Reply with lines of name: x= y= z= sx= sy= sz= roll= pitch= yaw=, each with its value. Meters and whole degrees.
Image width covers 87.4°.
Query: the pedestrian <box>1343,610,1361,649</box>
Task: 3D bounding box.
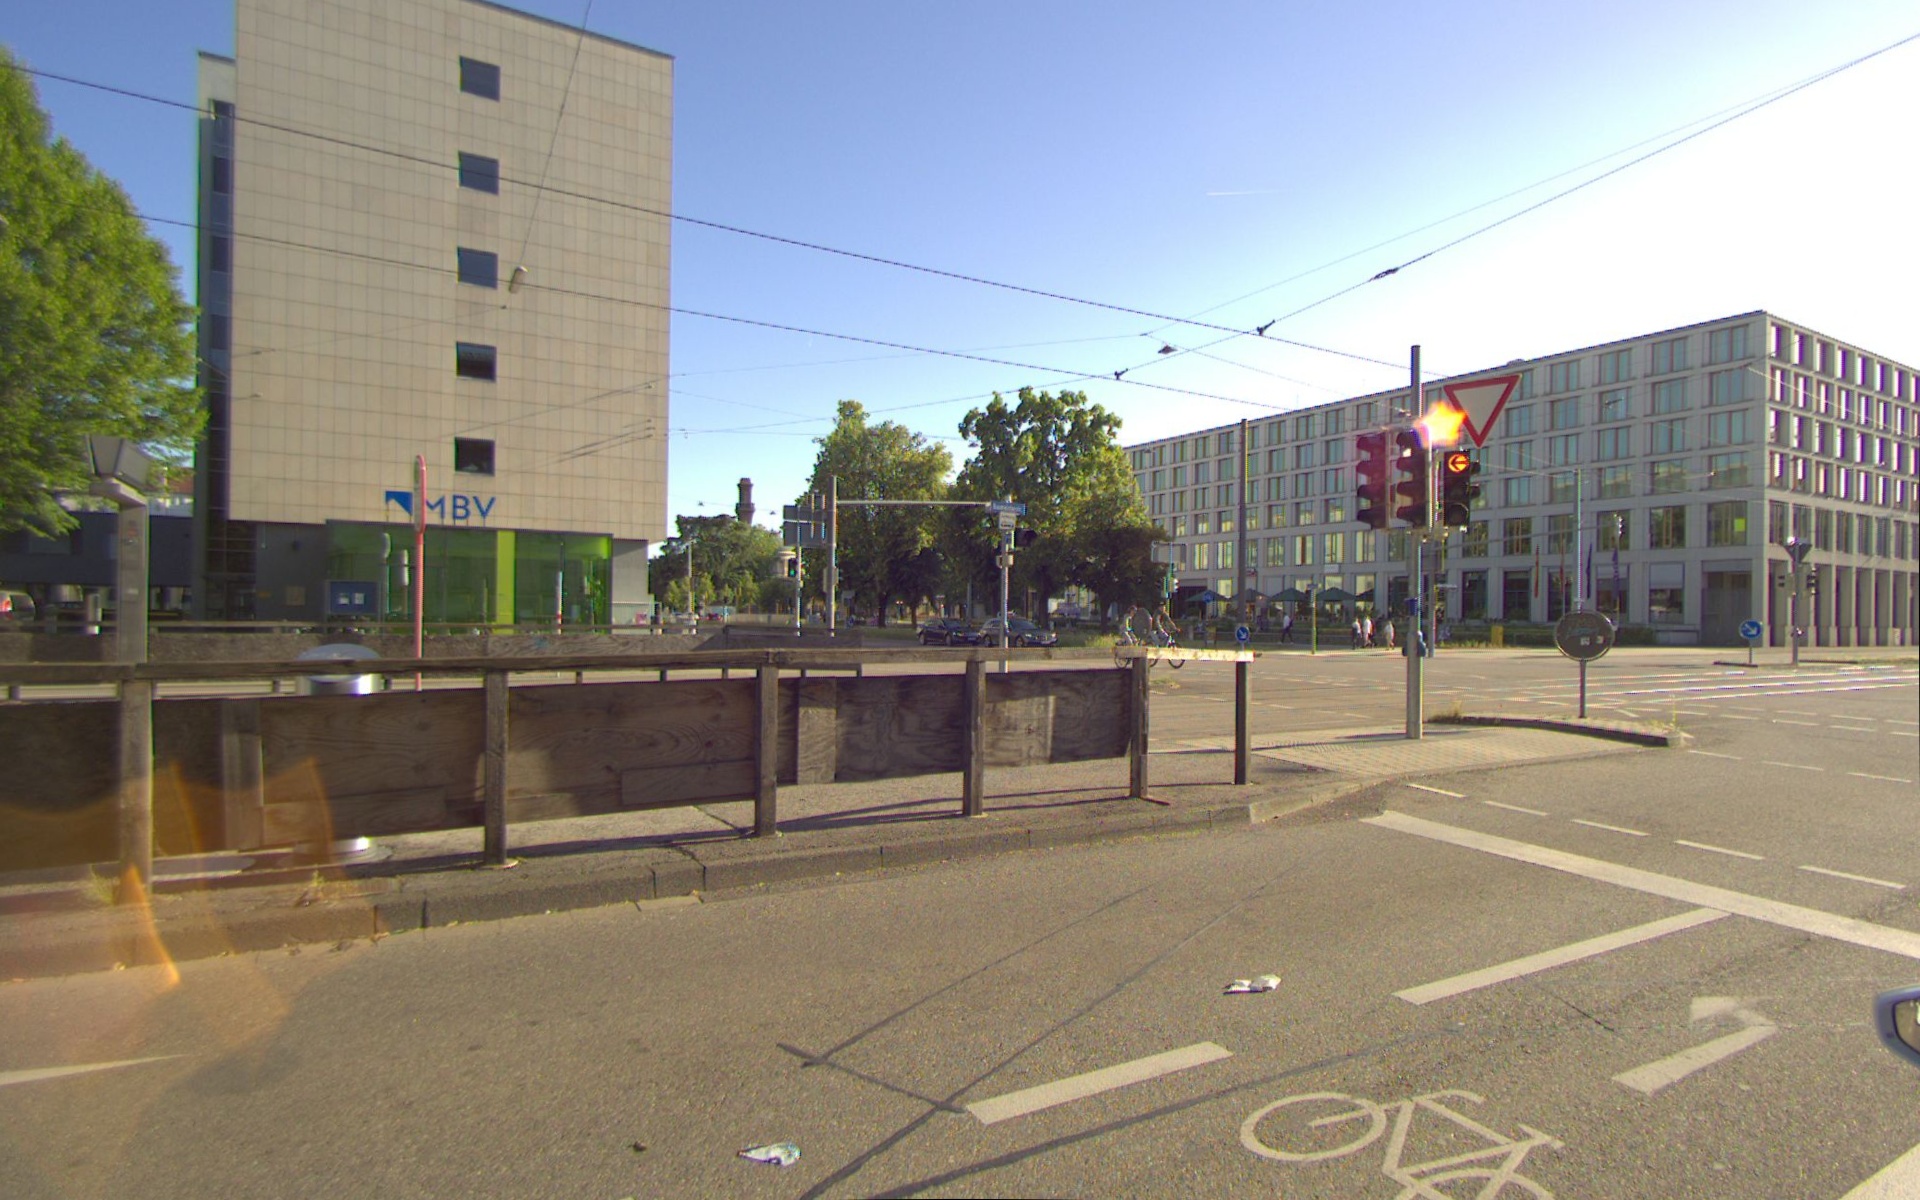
pedestrian: x=20.779 y=1.558 z=53.204 sx=0.793 sy=2.040 sz=0.526 roll=1 pitch=-1 yaw=-36

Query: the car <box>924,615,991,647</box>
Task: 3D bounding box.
car: x=-0.173 y=1.590 z=52.740 sx=1.801 sy=1.595 sz=3.967 roll=0 pitch=0 yaw=-31

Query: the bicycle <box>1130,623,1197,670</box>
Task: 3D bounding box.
bicycle: x=5.930 y=1.341 z=29.394 sx=0.783 sy=1.308 sz=1.975 roll=1 pitch=-1 yaw=-31

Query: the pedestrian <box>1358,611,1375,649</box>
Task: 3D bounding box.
pedestrian: x=21.852 y=1.626 z=53.991 sx=0.793 sy=2.040 sz=0.526 roll=1 pitch=-1 yaw=-36

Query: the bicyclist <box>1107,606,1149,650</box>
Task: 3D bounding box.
bicyclist: x=4.787 y=0.792 z=28.635 sx=0.788 sy=1.235 sz=0.920 roll=1 pitch=-1 yaw=-33

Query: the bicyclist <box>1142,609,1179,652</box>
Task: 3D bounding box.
bicyclist: x=5.872 y=0.890 z=29.495 sx=0.788 sy=1.235 sz=0.717 roll=1 pitch=-1 yaw=-31

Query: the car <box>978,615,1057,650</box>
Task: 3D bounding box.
car: x=2.678 y=1.506 z=47.616 sx=1.708 sy=1.595 sz=4.140 roll=1 pitch=-1 yaw=-31

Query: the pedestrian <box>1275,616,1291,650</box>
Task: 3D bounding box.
pedestrian: x=18.435 y=1.883 z=57.344 sx=0.672 sy=1.928 sz=0.560 roll=1 pitch=-1 yaw=-21

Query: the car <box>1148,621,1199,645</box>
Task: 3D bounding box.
car: x=13.464 y=2.065 z=63.398 sx=1.453 sy=1.457 sz=3.172 roll=1 pitch=-1 yaw=-28

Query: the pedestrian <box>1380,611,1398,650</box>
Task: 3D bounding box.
pedestrian: x=22.625 y=1.625 z=52.994 sx=0.793 sy=2.040 sz=0.526 roll=1 pitch=-1 yaw=-36

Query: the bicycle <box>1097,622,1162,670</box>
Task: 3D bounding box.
bicycle: x=4.810 y=1.295 z=28.564 sx=0.783 sy=1.308 sz=1.840 roll=1 pitch=-1 yaw=-33

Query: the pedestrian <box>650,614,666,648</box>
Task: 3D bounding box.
pedestrian: x=-14.153 y=1.451 z=47.098 sx=0.593 sy=1.561 sz=0.620 roll=1 pitch=-1 yaw=-32

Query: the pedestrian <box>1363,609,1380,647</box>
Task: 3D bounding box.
pedestrian: x=22.414 y=1.530 z=54.703 sx=0.793 sy=2.040 sz=0.526 roll=1 pitch=-1 yaw=-36
